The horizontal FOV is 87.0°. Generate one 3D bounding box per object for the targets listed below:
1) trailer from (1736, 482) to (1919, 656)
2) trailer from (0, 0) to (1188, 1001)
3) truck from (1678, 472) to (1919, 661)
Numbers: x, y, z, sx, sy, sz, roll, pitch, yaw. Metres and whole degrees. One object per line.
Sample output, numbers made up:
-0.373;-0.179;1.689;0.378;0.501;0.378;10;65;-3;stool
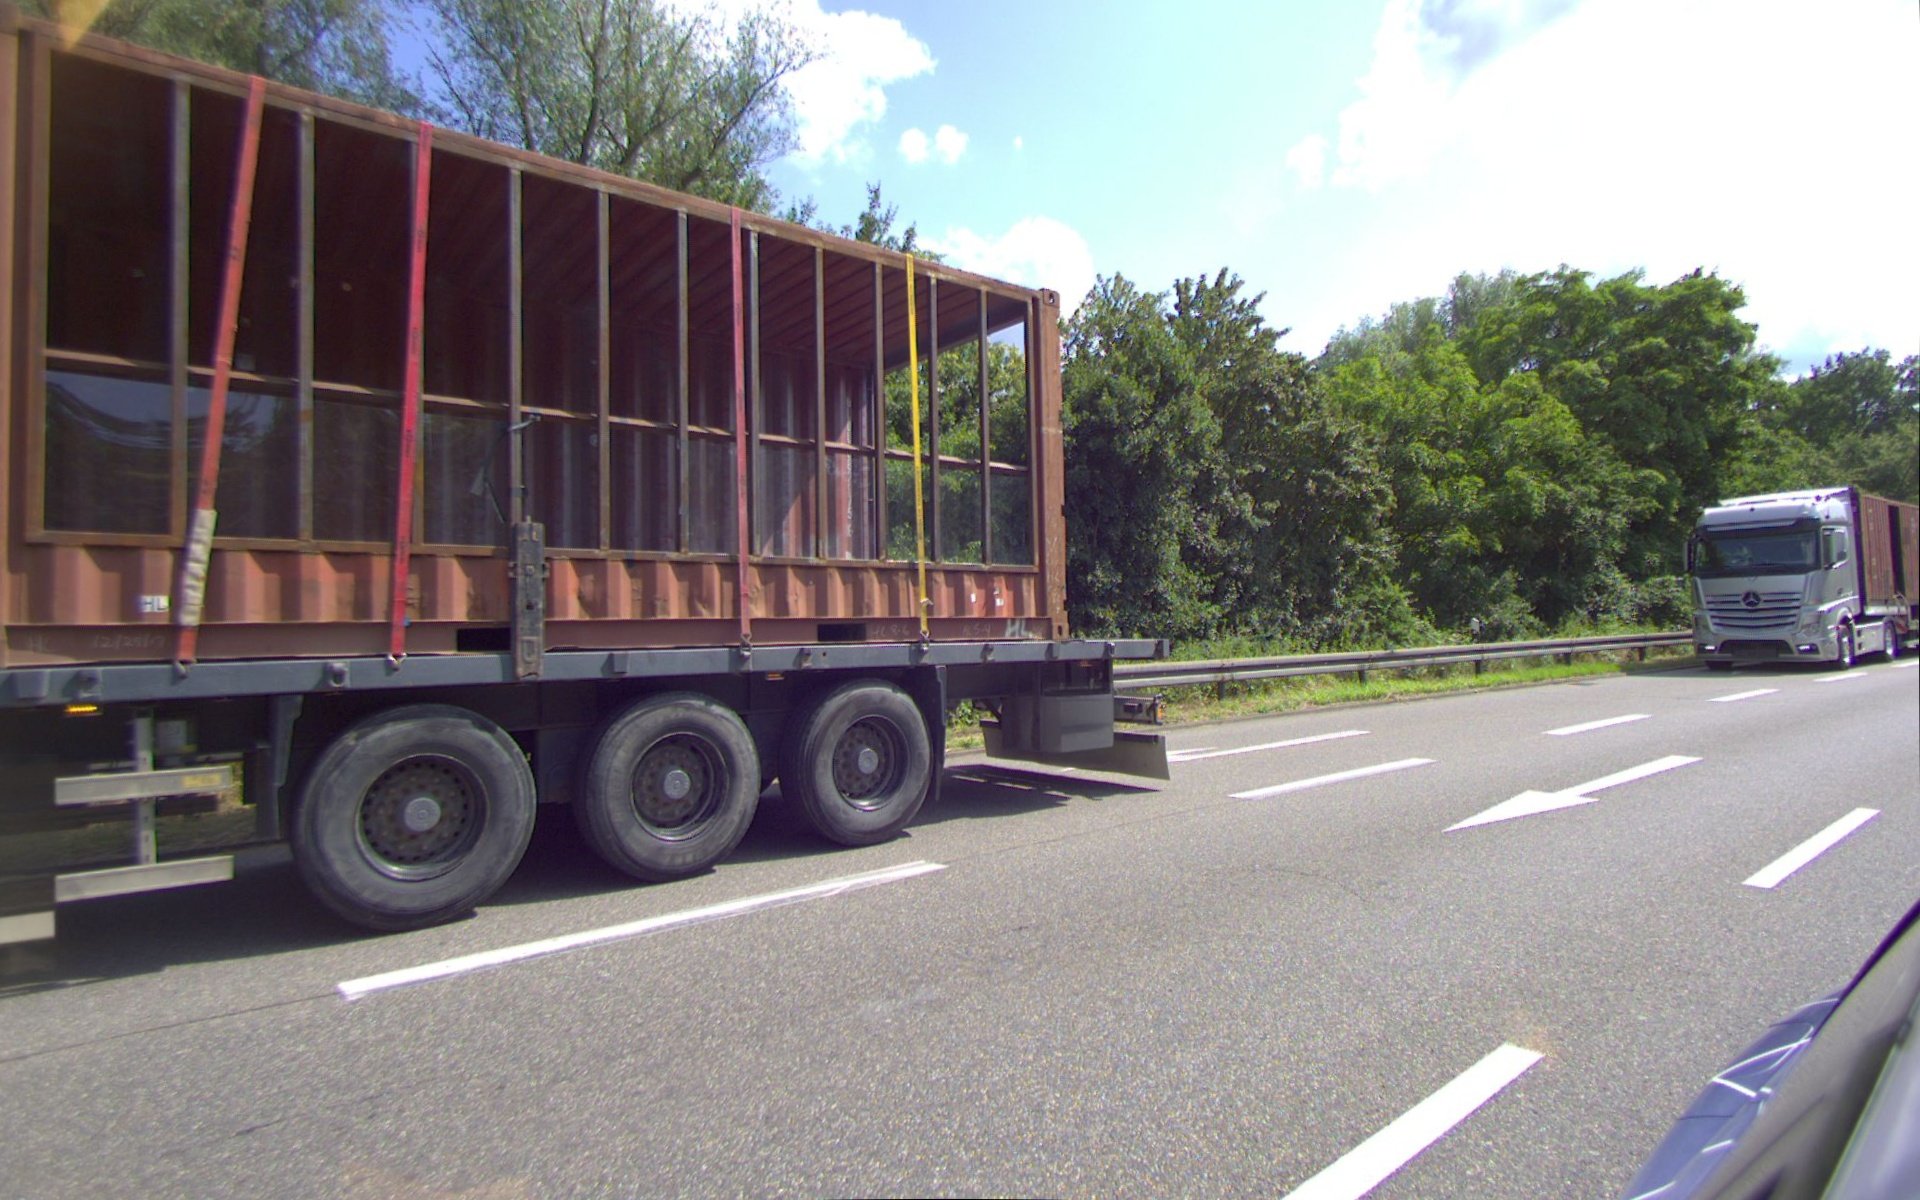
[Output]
24.868;-0.670;27.352;12.088;3.900;2.779;0;-2;-36;trailer
-4.357;-0.416;4.961;13.596;3.942;2.644;0;-3;-39;trailer
19.908;-0.642;23.796;6.690;3.895;2.777;0;-2;-35;truck
